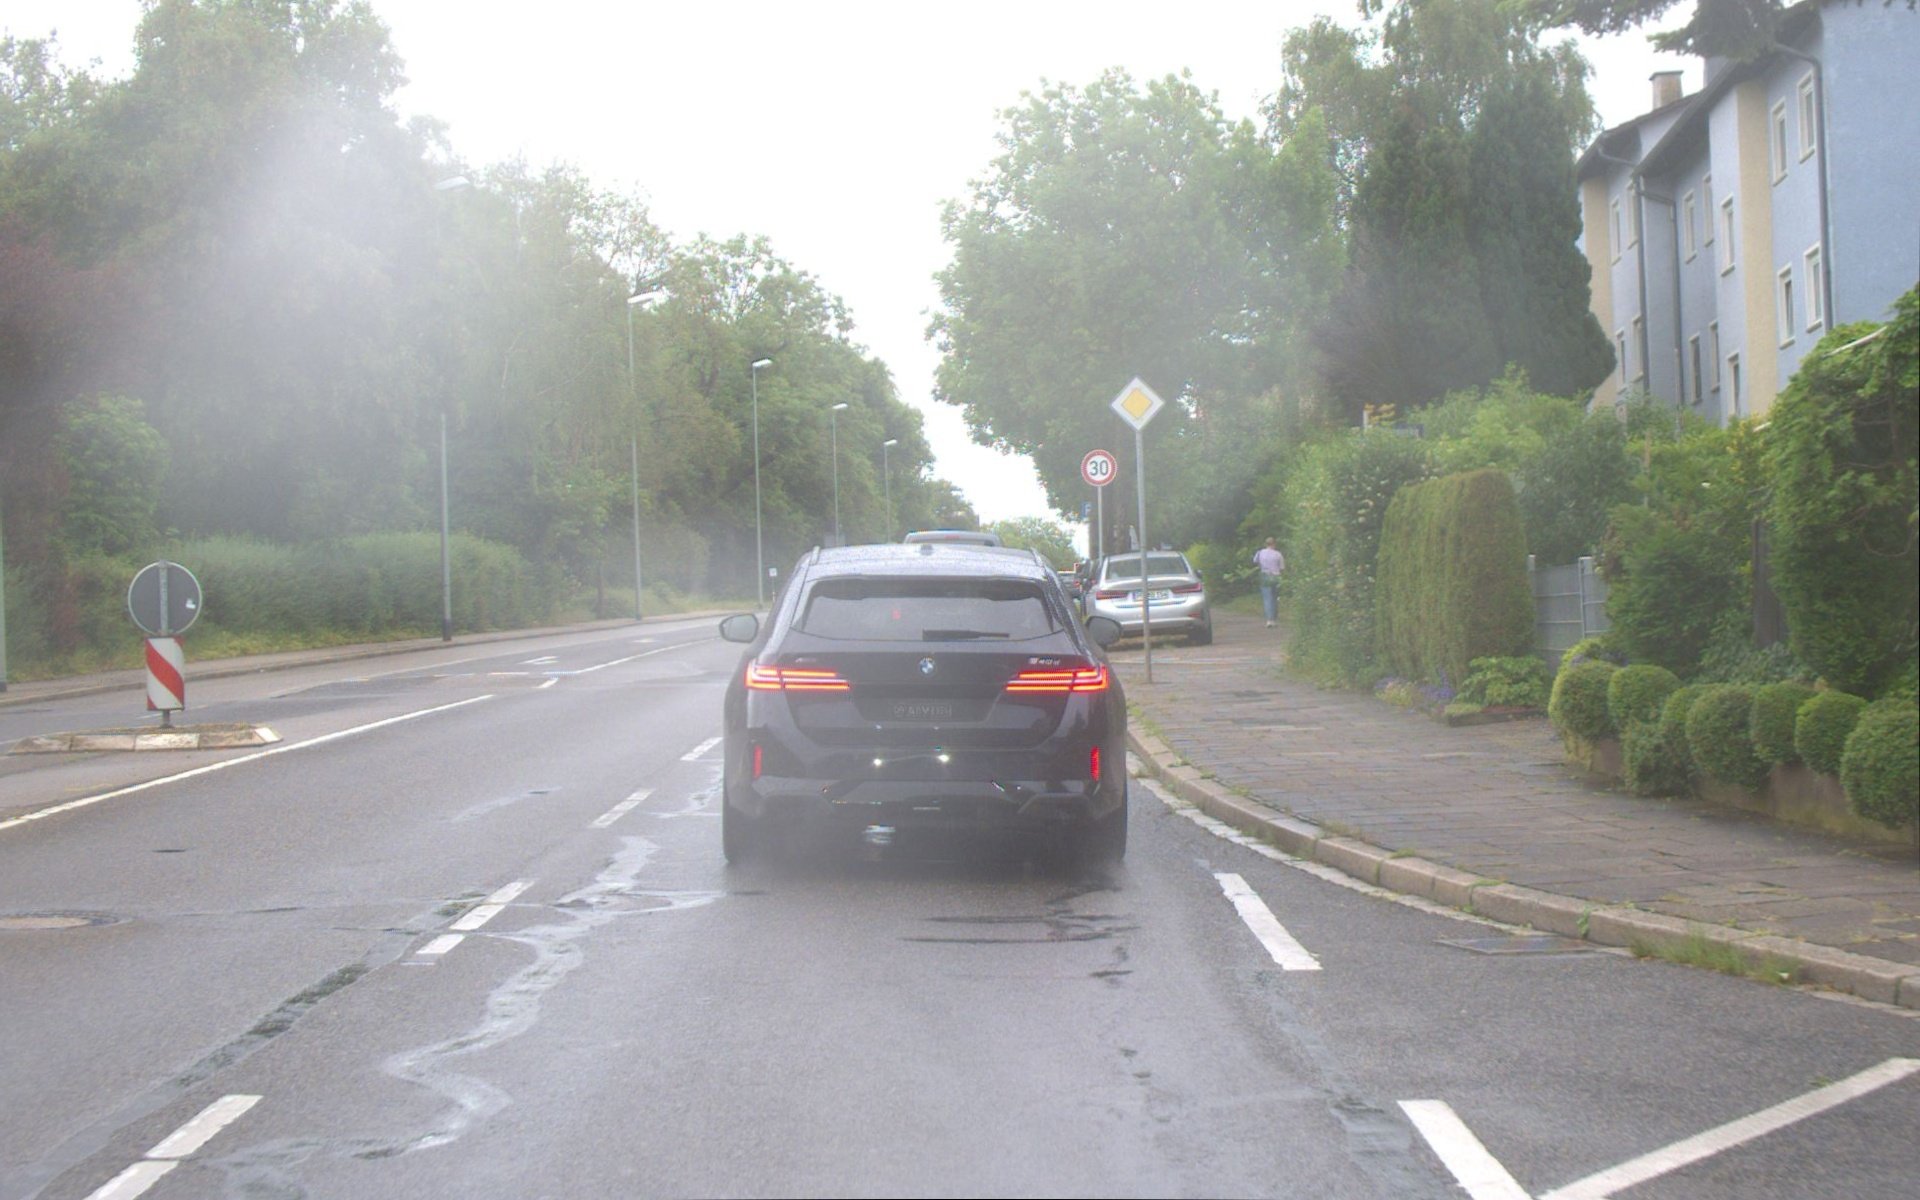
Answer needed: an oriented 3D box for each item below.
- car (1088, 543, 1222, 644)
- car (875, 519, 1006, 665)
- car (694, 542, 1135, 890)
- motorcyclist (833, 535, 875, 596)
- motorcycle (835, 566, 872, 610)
[{"bbox_3d":[2.943,-0.134,52.730,1.935,1.437,4.408,-1,1,2],"label":"car"},{"bbox_3d":[-0.264,-0.151,46.291,1.629,1.827,4.000,-2,1,0],"label":"car"},{"bbox_3d":[-0.176,0.473,16.959,1.897,1.484,4.000,1,1,1],"label":"car"},{"bbox_3d":[-2.737,-0.892,88.621,1.039,1.562,0.855,1,0,0],"label":"motorcyclist"},{"bbox_3d":[-2.740,-0.318,88.576,0.876,1.120,2.741,1,0,0],"label":"motorcycle"}]
